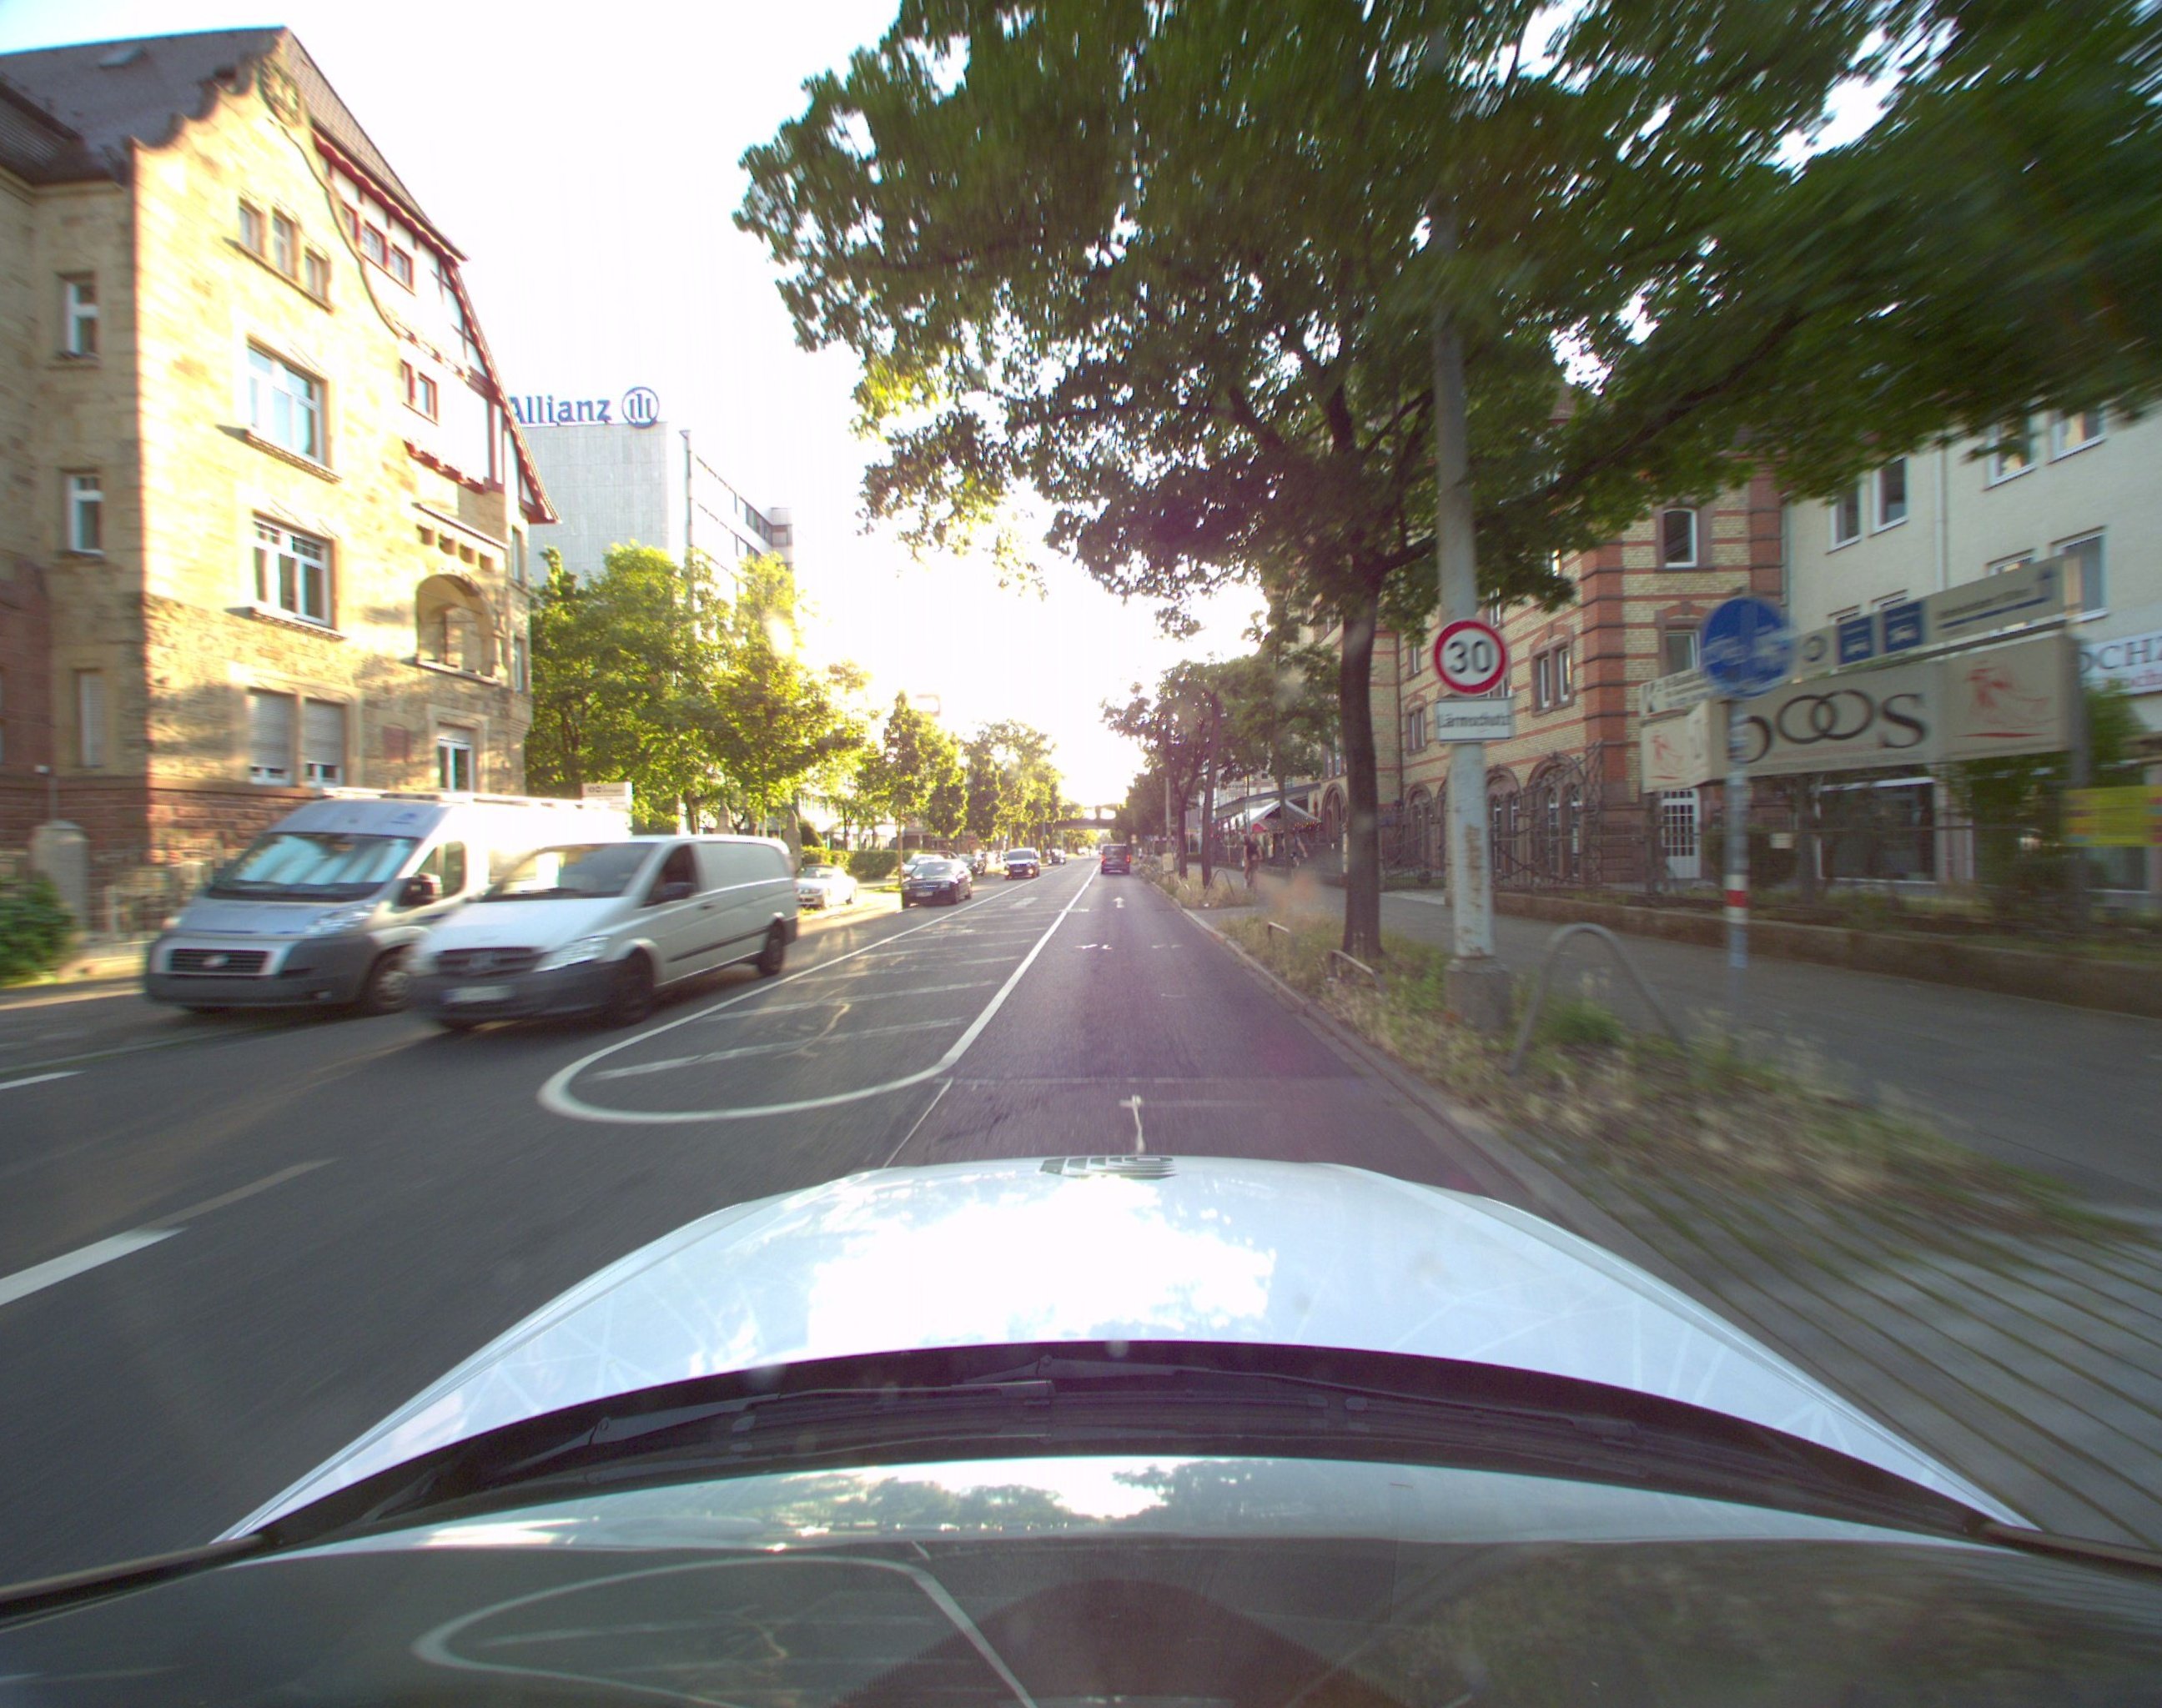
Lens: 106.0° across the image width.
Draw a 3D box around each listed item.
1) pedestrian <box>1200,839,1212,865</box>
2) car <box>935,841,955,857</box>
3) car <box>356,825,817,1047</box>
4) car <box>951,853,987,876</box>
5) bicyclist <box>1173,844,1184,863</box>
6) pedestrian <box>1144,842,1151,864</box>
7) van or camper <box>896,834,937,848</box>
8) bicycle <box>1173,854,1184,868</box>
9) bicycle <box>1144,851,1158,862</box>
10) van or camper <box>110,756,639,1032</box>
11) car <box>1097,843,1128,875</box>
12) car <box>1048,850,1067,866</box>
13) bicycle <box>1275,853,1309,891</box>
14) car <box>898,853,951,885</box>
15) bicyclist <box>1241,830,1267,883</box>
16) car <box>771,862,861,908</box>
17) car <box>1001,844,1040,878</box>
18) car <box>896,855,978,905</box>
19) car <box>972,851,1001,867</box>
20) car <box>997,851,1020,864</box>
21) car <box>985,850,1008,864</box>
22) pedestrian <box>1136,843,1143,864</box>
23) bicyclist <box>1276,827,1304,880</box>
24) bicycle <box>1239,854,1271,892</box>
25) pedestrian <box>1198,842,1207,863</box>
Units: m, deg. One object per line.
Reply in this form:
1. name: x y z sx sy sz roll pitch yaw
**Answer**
1. pedestrian: 7.863 -0.120 51.308 0.642 1.633 0.656 0 0 2
2. car: -20.664 -0.801 123.727 1.986 2.307 5.248 0 0 2
3. car: -5.083 0.685 9.567 1.985 1.831 5.173 -2 0 3
4. car: -7.134 0.656 52.256 1.632 1.385 4.001 0 0 1
5. bicyclist: 6.346 -0.022 53.145 0.583 1.236 1.112 0 0 2
6. pedestrian: 5.989 -0.090 73.281 0.505 1.888 0.543 0 0 -13
7. van or camper: -28.584 -2.254 141.805 6.541 2.522 2.449 0 0 0
8. bicycle: 6.338 0.427 53.112 0.577 0.897 1.988 0 0 2
9. bicycle: 6.375 0.220 74.114 0.590 0.897 1.975 0 0 -17
10. van or camper: -8.493 0.368 10.937 1.988 2.668 6.033 0 0 -2
11. car: 2.057 0.311 52.937 1.880 1.925 3.842 -2 1 3
12. car: -2.528 0.425 86.941 1.672 1.530 4.002 -3 0 2
13. bicycle: 6.111 0.499 23.649 0.515 1.040 2.090 0 0 2
14. car: -7.587 0.696 39.804 1.691 1.451 4.001 0 0 1
15. bicyclist: 5.086 0.075 23.985 0.593 1.532 0.894 0 0 2
16. car: -8.064 0.906 25.078 1.530 1.248 3.615 0 0 1
17. car: -3.528 0.365 48.177 1.826 1.852 4.475 -2 0 1
18. car: -4.658 0.799 26.956 1.752 1.386 4.307 -3 0 2
19. car: -8.556 0.432 73.752 1.986 1.310 4.068 0 0 2
20. car: -8.125 0.374 91.292 1.986 1.414 4.239 0 0 2
21. car: -8.341 0.315 80.666 1.665 1.314 3.967 0 0 2
22. pedestrian: 5.282 -0.011 73.707 0.505 1.888 0.543 0 0 -13
23. bicyclist: 6.093 -0.017 23.780 0.593 1.532 0.894 0 0 2
24. bicycle: 5.078 0.528 23.837 0.542 1.040 2.090 0 0 2
25. pedestrian: 7.840 -0.115 52.537 0.465 1.350 0.530 0 0 2
